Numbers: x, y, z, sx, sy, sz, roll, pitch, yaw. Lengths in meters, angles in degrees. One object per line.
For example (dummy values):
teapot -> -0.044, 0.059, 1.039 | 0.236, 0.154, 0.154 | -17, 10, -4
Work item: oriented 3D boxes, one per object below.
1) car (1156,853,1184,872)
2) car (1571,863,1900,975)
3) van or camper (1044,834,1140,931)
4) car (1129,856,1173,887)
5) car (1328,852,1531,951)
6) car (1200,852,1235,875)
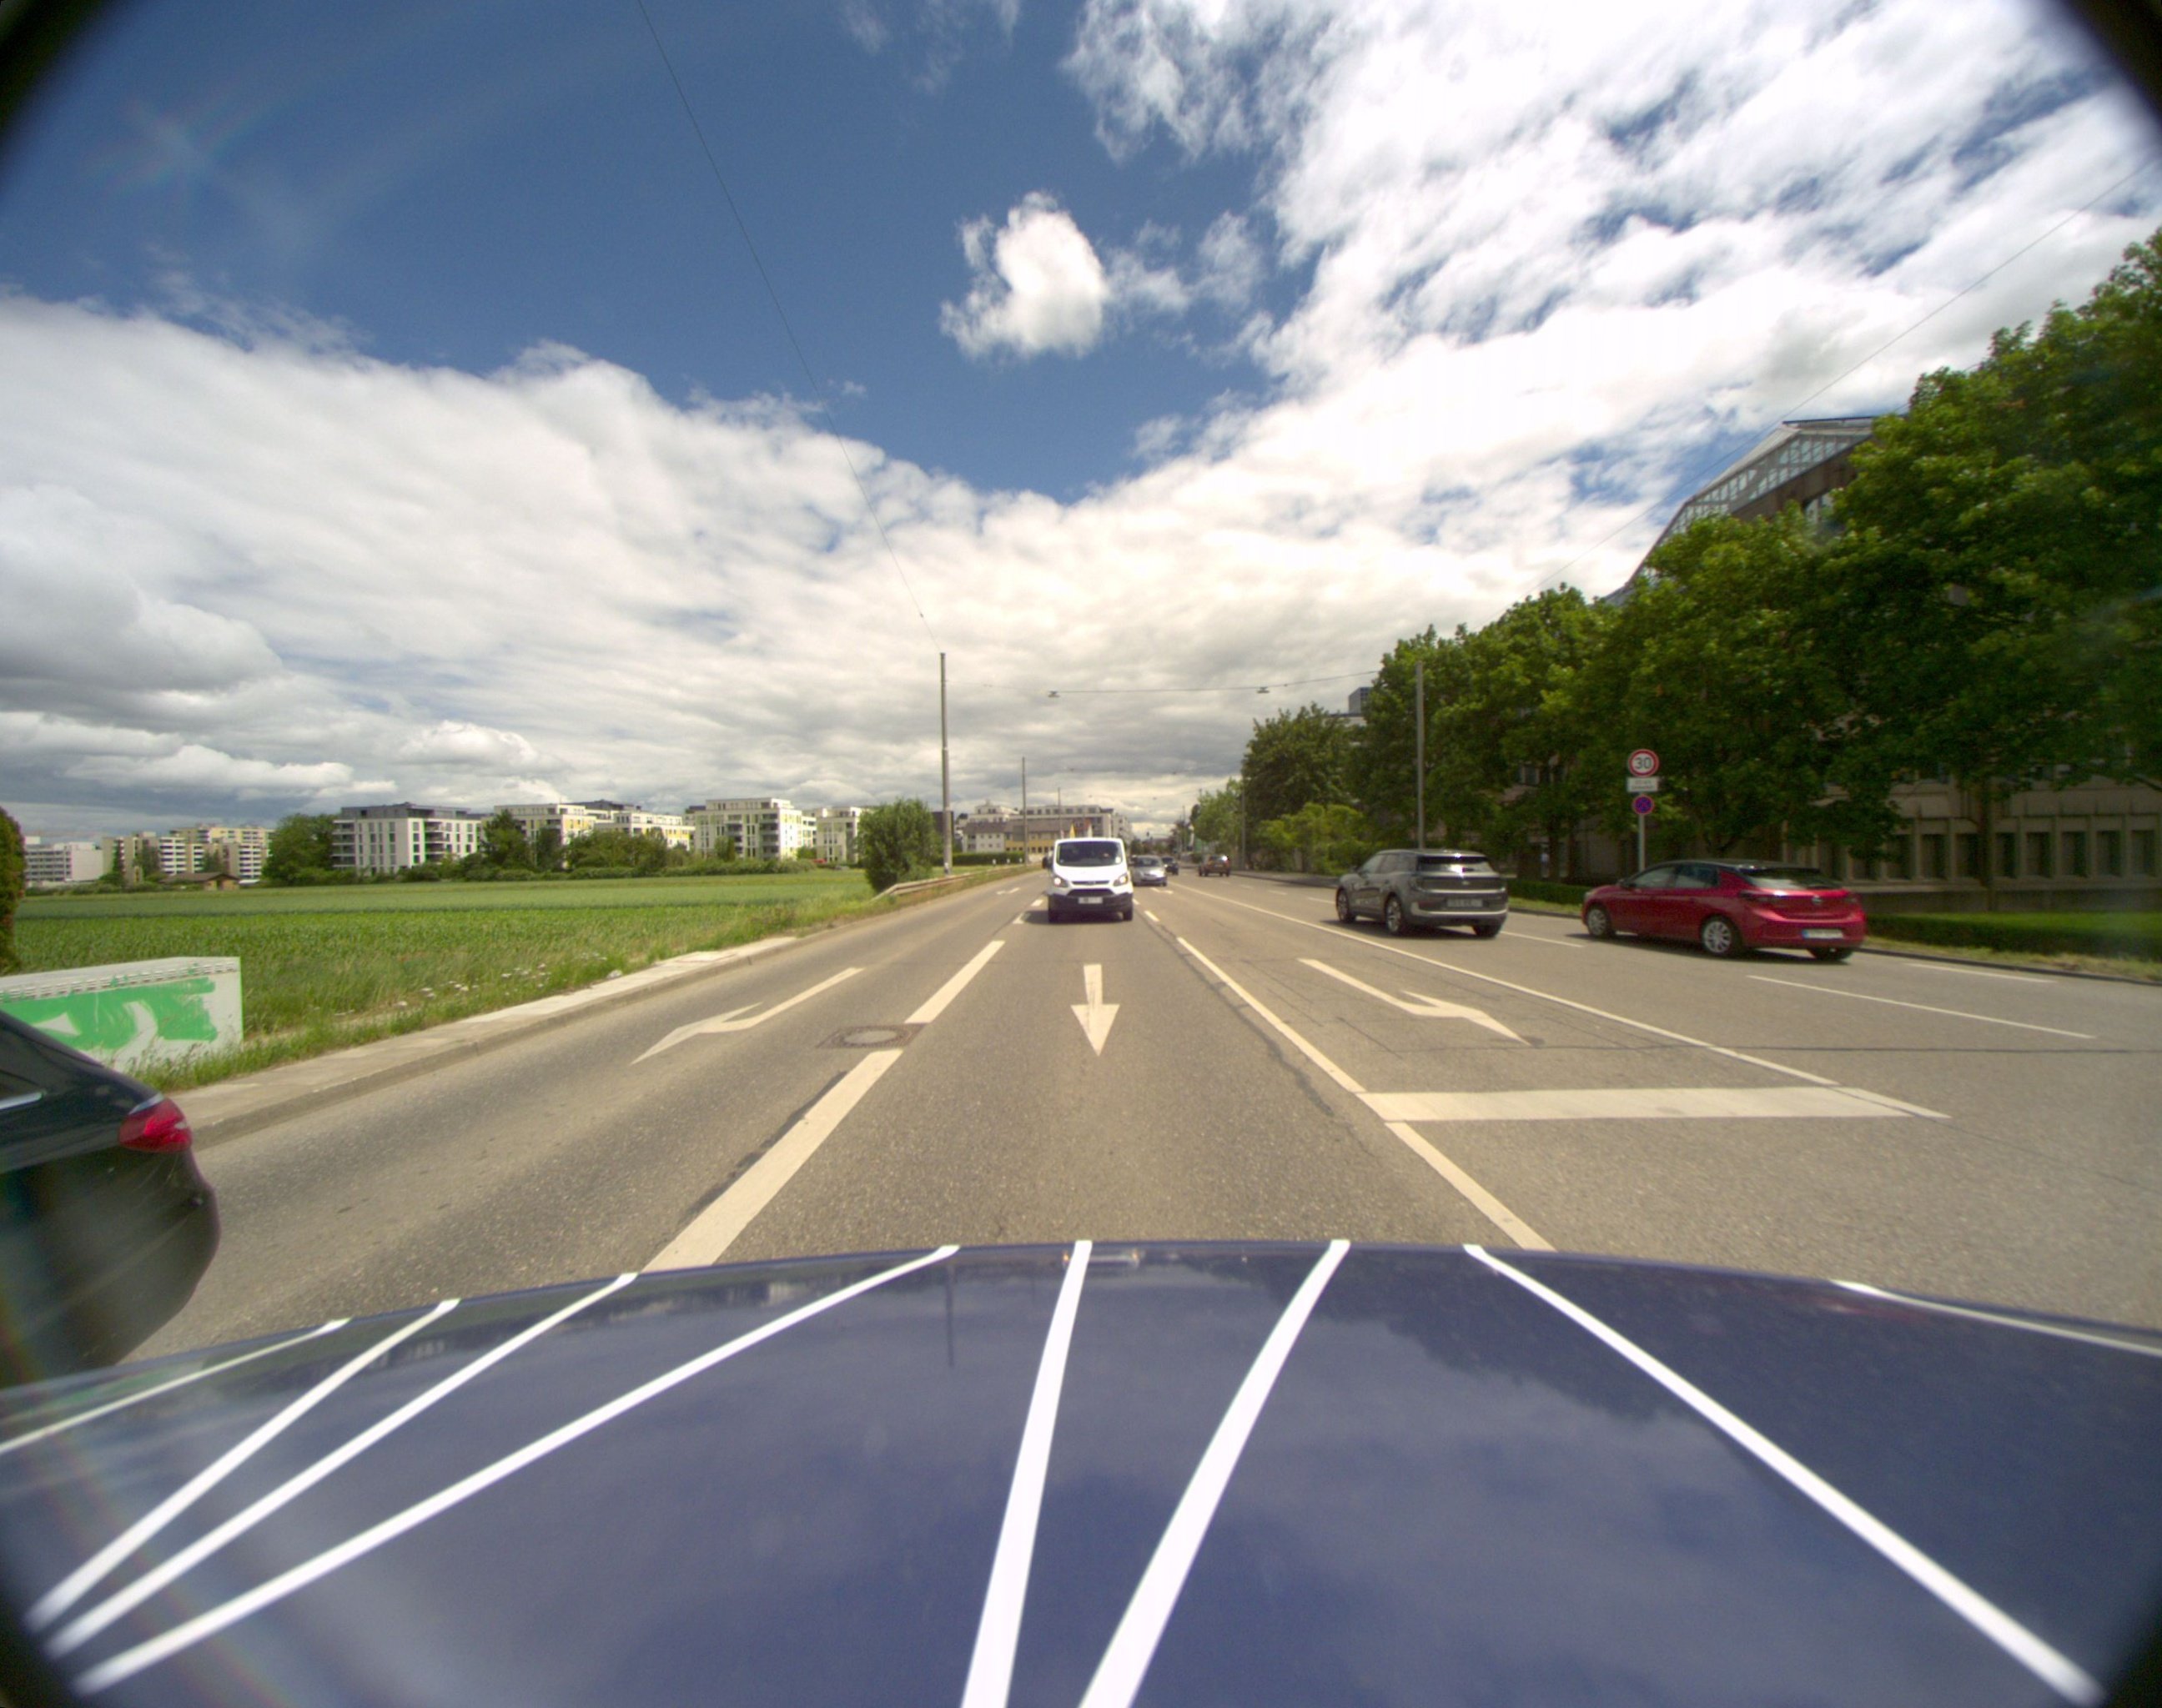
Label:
car -> 6.924, 0.668, 59.506 | 1.800, 1.445, 4.000 | 0, 0, 0
car -> 9.943, 0.882, 12.052 | 1.784, 1.407, 3.999 | 0, 1, 0
van or camper -> 0.250, 0.588, 18.941 | 1.998, 2.002, 5.799 | -1, 0, 0
car -> 3.459, 0.841, 38.285 | 1.894, 1.433, 4.000 | -1, 0, 1
car -> 6.525, 0.783, 14.856 | 1.998, 1.608, 4.306 | -1, 0, 0
car -> 10.060, 0.685, 56.227 | 1.897, 1.587, 4.000 | -1, 1, 1
